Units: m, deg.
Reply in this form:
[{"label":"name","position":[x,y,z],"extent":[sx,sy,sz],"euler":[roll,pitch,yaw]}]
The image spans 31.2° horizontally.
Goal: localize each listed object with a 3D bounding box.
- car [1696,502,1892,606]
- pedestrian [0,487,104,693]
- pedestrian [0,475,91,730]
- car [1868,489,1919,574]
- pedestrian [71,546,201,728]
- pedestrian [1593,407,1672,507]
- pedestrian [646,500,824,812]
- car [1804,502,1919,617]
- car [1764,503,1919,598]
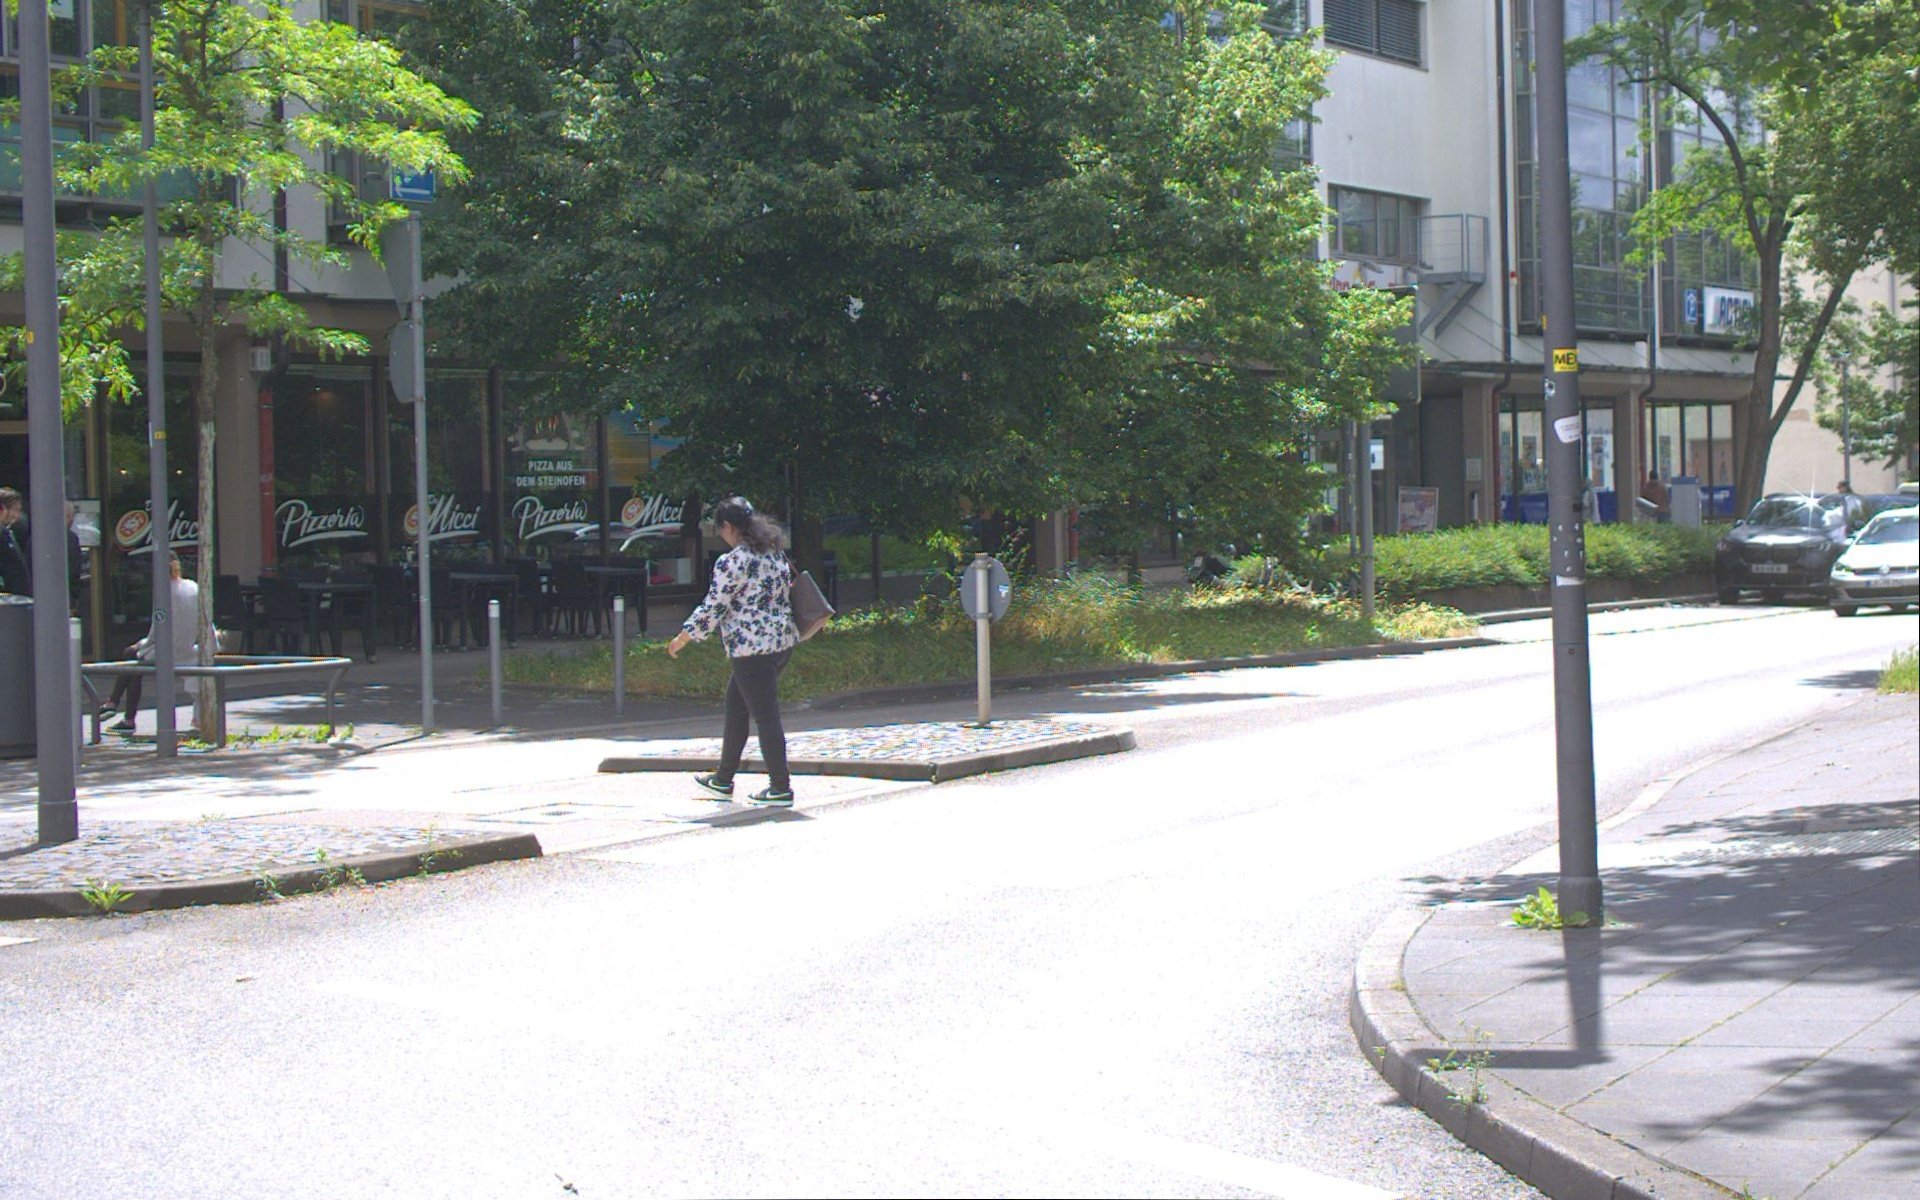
[{"label":"car","position":[12.800,-0.739,52.590],"extent":[1.996,1.503,4.579],"euler":[1,2,26]},{"label":"pedestrian","position":[-7.501,-0.092,28.316],"extent":[0.616,1.669,0.697],"euler":[0,2,15]},{"label":"pedestrian","position":[-6.948,0.007,25.379],"extent":[0.697,1.812,0.616],"euler":[1,6,33]},{"label":"car","position":[18.122,-1.264,62.546],"extent":[1.997,1.503,4.577],"euler":[1,2,30]},{"label":"pedestrian","position":[-5.963,0.257,24.889],"extent":[0.697,1.280,0.616],"euler":[1,2,40]},{"label":"pedestrian","position":[13.798,-2.920,70.537],"extent":[1.346,2.007,1.087],"euler":[0,0,26]},{"label":"pedestrian","position":[-1.157,0.266,17.564],"extent":[0.763,1.548,0.780],"euler":[0,2,-15]},{"label":"car","position":[13.175,-0.592,47.565],"extent":[1.996,1.503,4.579],"euler":[0,1,26]},{"label":"car","position":[14.821,-0.851,56.912],"extent":[1.996,1.503,4.579],"euler":[1,2,26]}]
